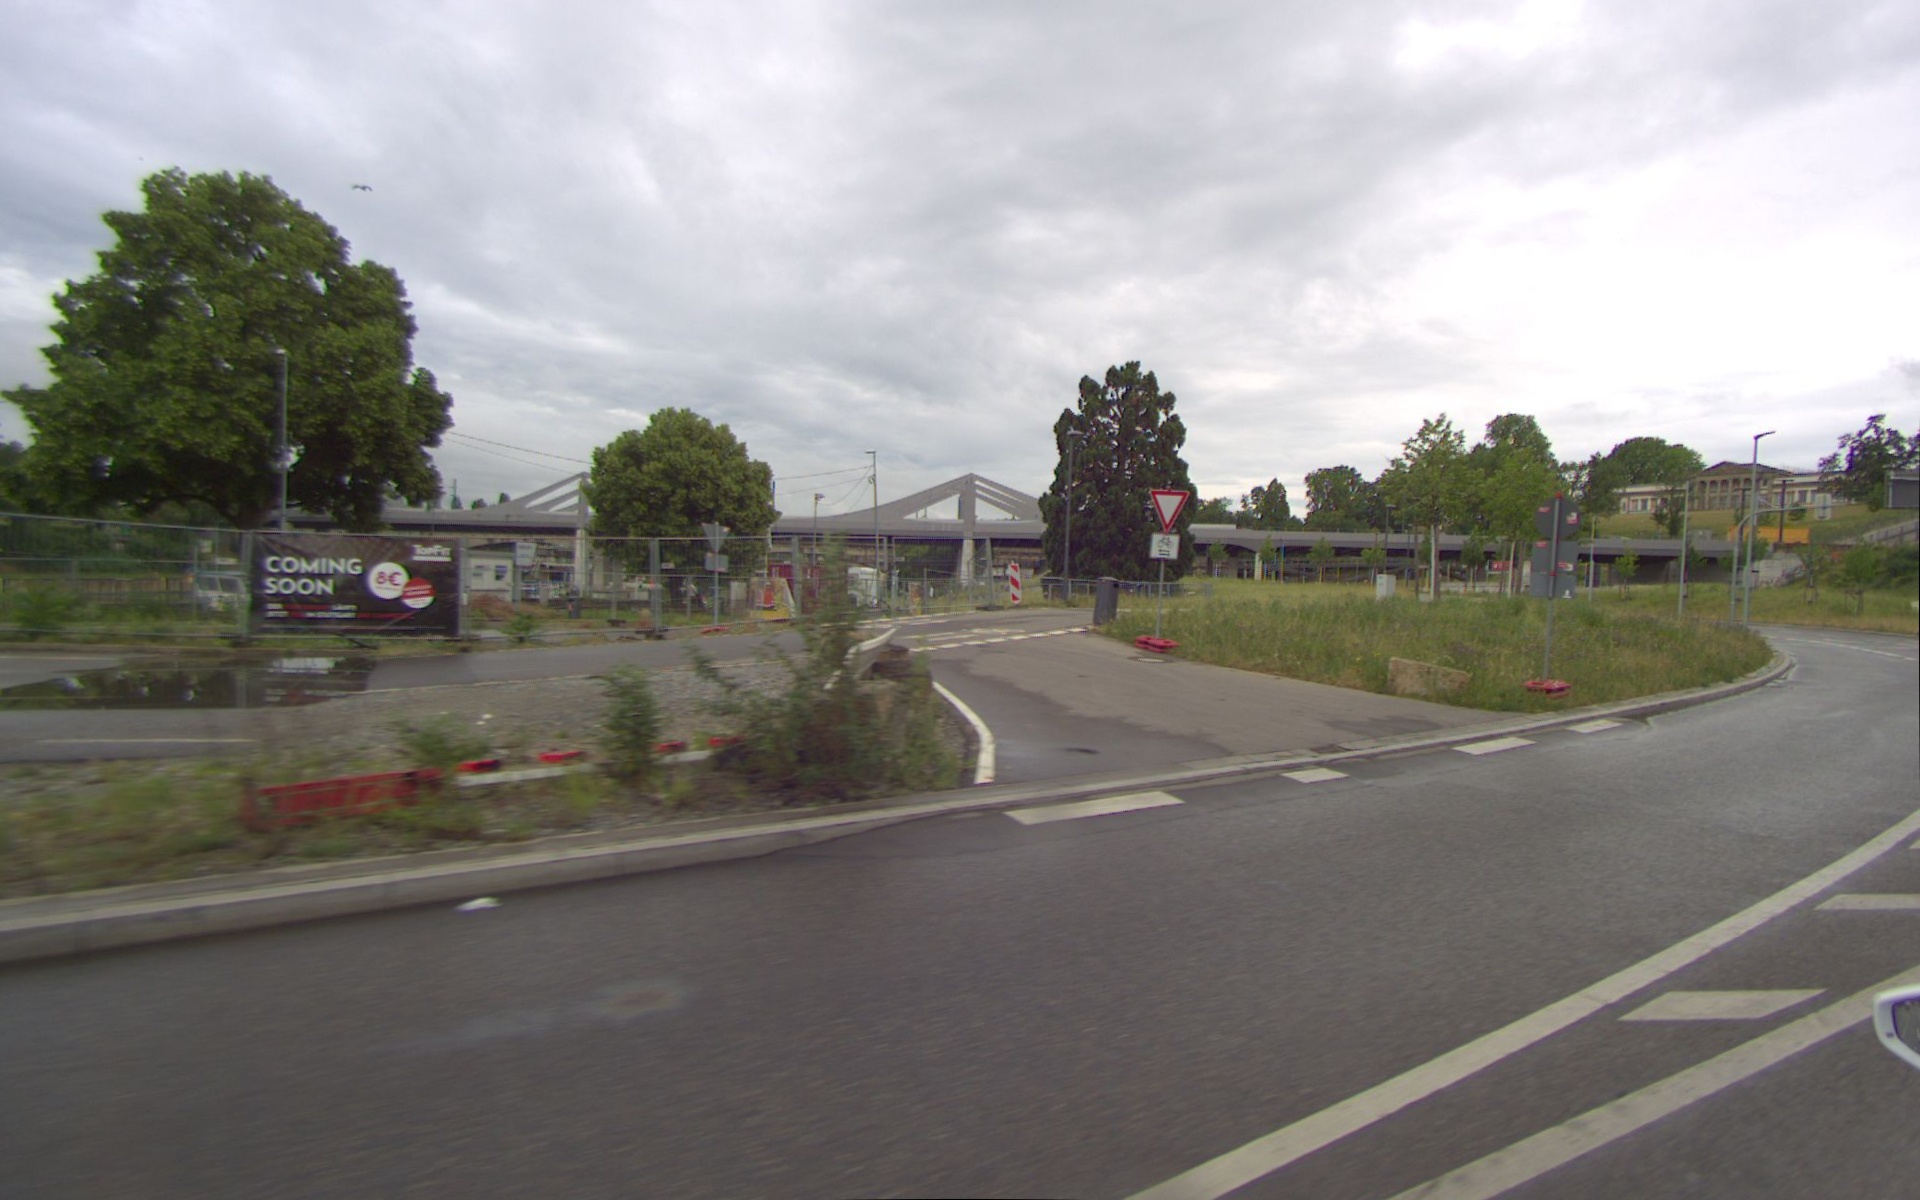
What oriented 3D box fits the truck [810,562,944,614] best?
[{"bbox_3d":[-5.031,-0.748,60.804,7.808,2.840,2.422,2,1,23],"label":"truck"}]
